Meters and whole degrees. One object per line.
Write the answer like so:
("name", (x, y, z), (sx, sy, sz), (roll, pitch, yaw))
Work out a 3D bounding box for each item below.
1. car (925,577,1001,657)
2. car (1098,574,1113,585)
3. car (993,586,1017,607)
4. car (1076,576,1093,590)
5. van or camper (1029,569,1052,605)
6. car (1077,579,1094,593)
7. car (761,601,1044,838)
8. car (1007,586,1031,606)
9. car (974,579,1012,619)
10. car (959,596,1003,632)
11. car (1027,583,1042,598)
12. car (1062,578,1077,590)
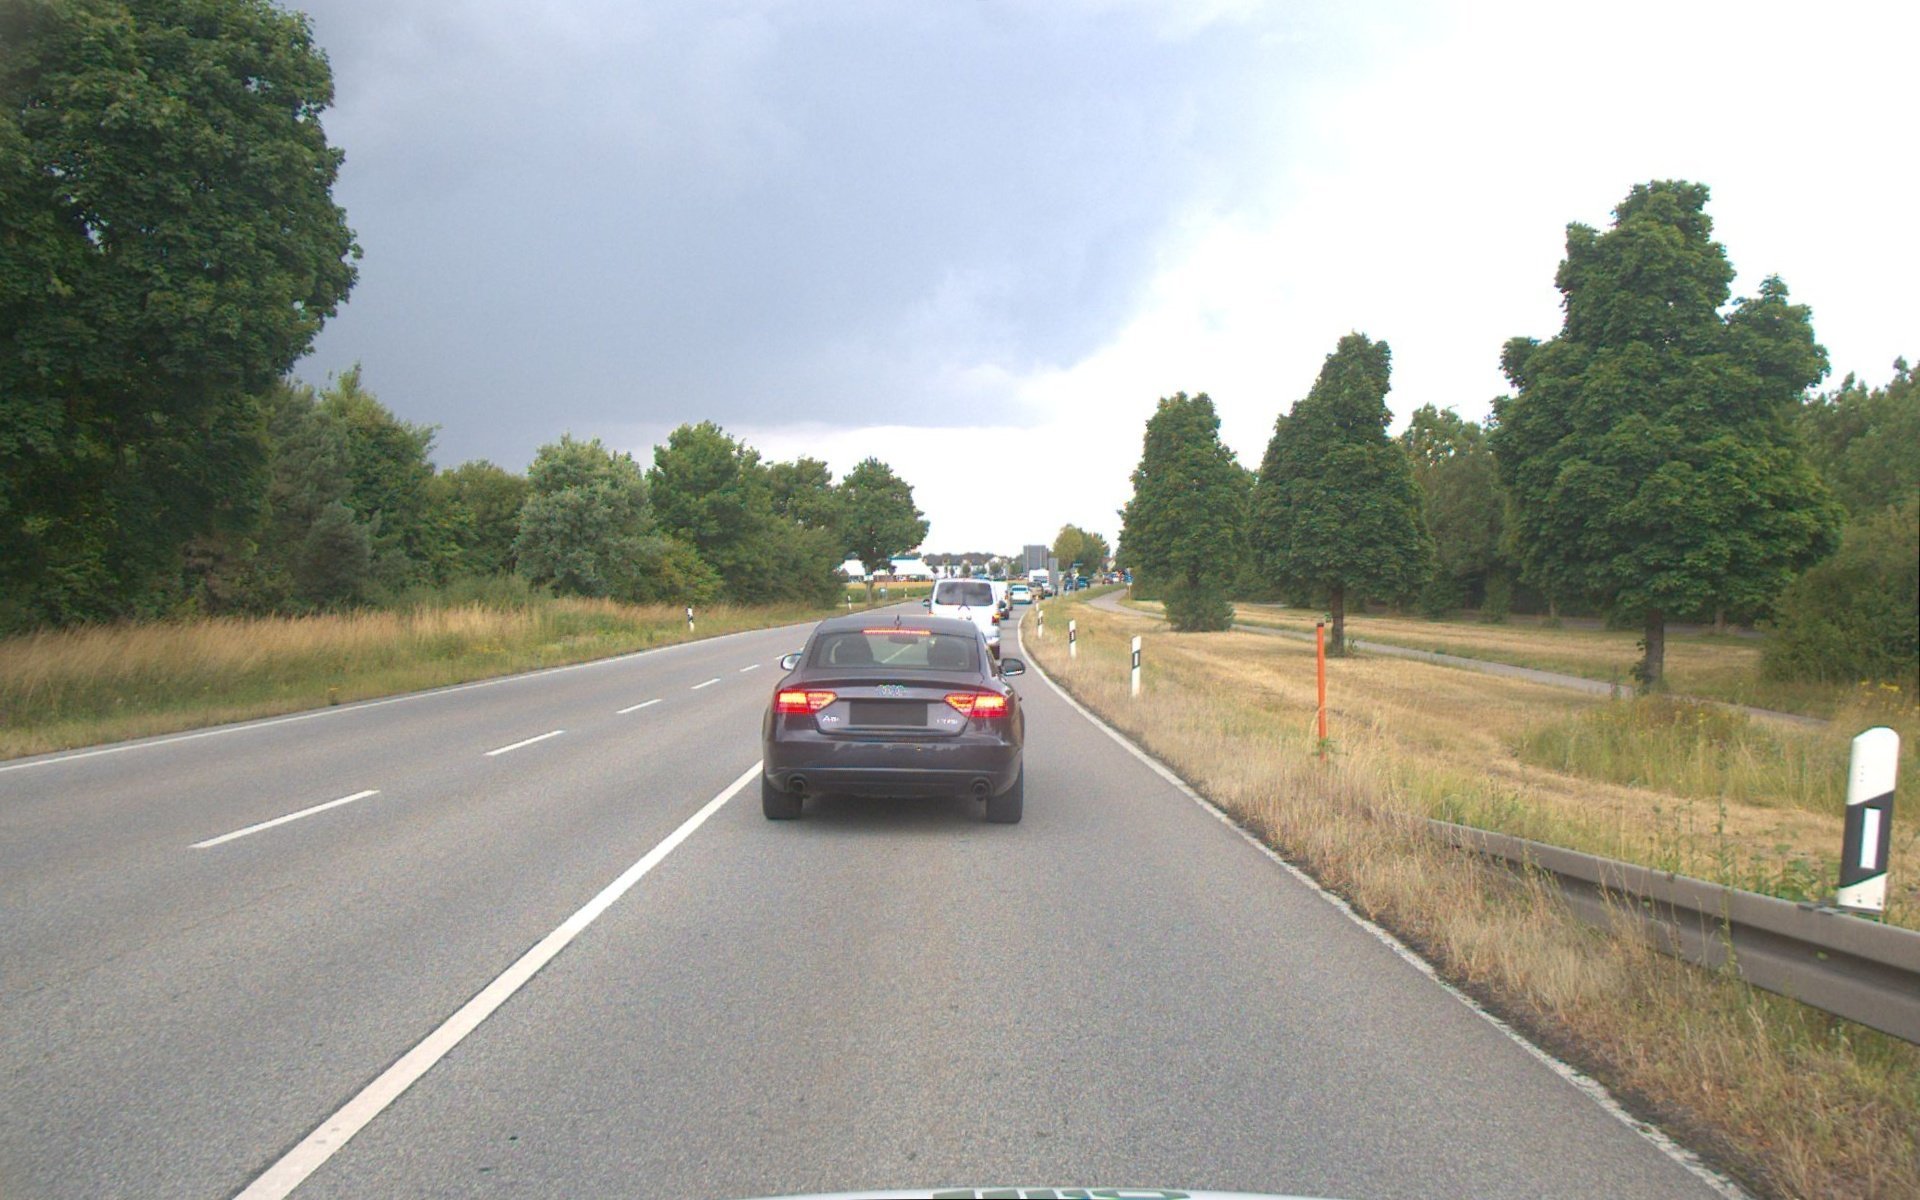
("car", (0.039, 0.383, 42.212), (1.801, 1.915, 3.999), (1, 1, -1))
("car", (21.860, -3.068, 248.867), (1.784, 1.519, 4.000), (1, 0, 0))
("car", (2.887, -0.243, 106.665), (1.503, 1.300, 3.747), (0, 0, 1))
("car", (15.073, -2.052, 200.791), (1.784, 1.624, 4.000), (1, 0, 0))
("van or camper", (8.105, -1.314, 166.941), (2.292, 3.542, 5.720), (0, 0, 2))
("car", (17.788, -1.960, 234.909), (1.953, 2.049, 3.999), (0, 0, -2))
("car", (-0.401, 0.750, 12.328), (1.747, 1.400, 3.999), (1, 1, -1))
("car", (4.655, -0.324, 129.660), (1.699, 1.541, 3.749), (0, 0, 5))
("car", (1.783, -0.065, 88.397), (1.952, 2.125, 4.001), (0, 0, 2))
("car", (0.927, 0.599, 71.194), (1.758, 1.489, 3.249), (1, 0, 2))
("car", (6.659, -0.848, 147.948), (1.231, 1.377, 3.468), (0, 0, 5))
("car", (14.046, -2.029, 212.406), (1.684, 1.477, 4.000), (1, 0, 0))
